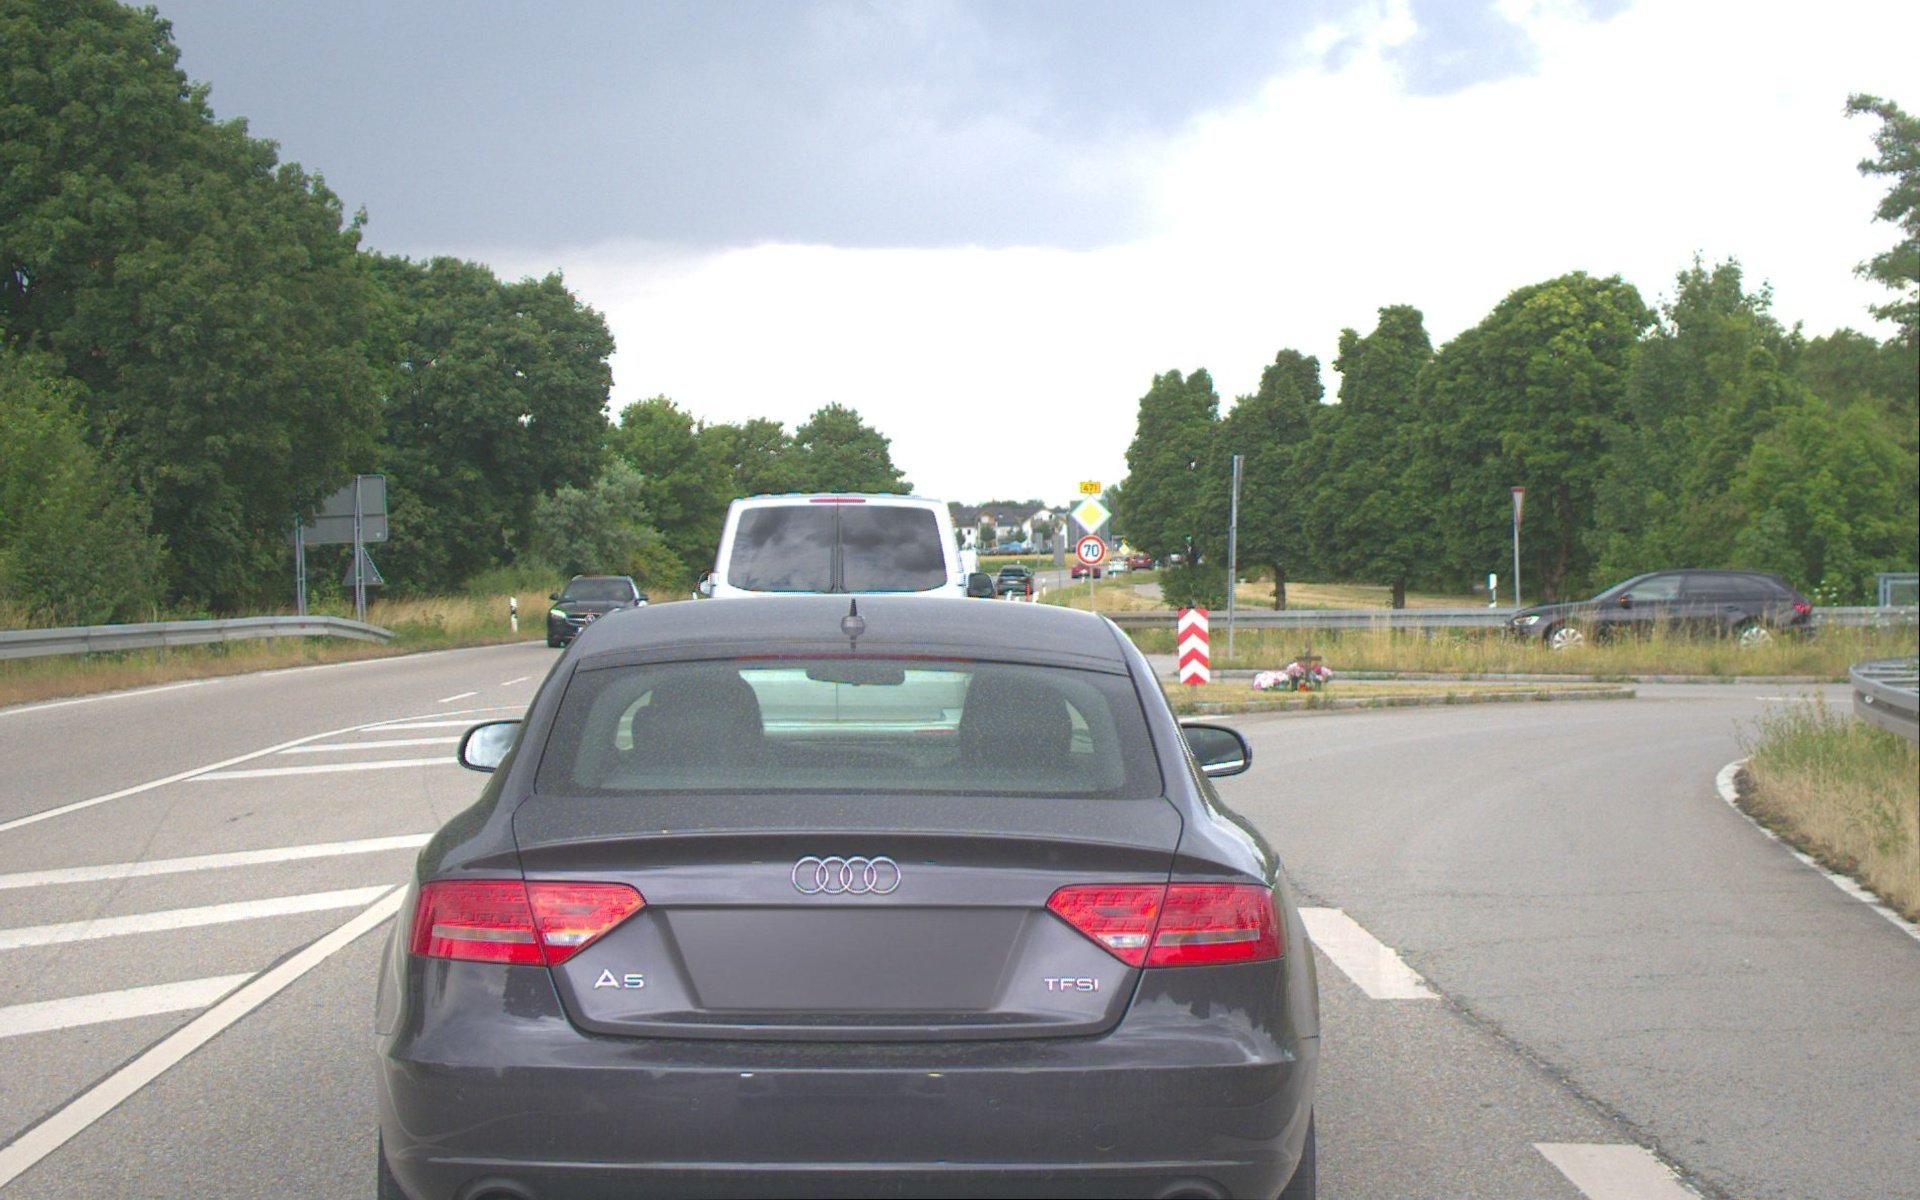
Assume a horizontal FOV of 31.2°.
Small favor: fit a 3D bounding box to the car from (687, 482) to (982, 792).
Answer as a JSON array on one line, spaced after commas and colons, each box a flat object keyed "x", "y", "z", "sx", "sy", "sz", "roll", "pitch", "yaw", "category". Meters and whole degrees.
[{"x": -0.868, "y": 0.199, "z": 24.464, "sx": 1.910, "sy": 2.007, "sz": 4.000, "roll": 1, "pitch": 1, "yaw": -1, "category": "car"}]

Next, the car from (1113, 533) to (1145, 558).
[{"x": 11.445, "y": -3.698, "z": 232.995, "sx": 1.993, "sy": 1.686, "sz": 4.000, "roll": 1, "pitch": 1, "yaw": 1, "category": "car"}]

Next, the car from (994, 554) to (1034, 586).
[{"x": 2.981, "y": -1.654, "z": 188.883, "sx": 1.994, "sy": 1.686, "sz": 4.000, "roll": 1, "pitch": 1, "yaw": 3, "category": "car"}]

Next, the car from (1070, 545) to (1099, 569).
[{"x": 8.978, "y": -3.114, "z": 247.514, "sx": 1.993, "sy": 1.686, "sz": 4.000, "roll": 1, "pitch": 1, "yaw": 1, "category": "car"}]

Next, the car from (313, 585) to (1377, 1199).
[{"x": -0.239, "y": 0.684, "z": 7.426, "sx": 1.779, "sy": 1.394, "sz": 3.337, "roll": 0, "pitch": 1, "yaw": -2, "category": "car"}]

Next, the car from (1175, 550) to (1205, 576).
[{"x": 15.136, "y": -2.438, "z": 226.171, "sx": 1.876, "sy": 1.686, "sz": 4.000, "roll": 1, "pitch": 1, "yaw": 5, "category": "car"}]

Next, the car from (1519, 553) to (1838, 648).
[{"x": 10.838, "y": -0.008, "z": 51.818, "sx": 4.568, "sy": 1.329, "sz": 1.700, "roll": 1, "pitch": 1, "yaw": 16, "category": "car"}]

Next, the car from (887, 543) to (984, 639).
[{"x": -0.524, "y": -0.241, "z": 77.805, "sx": 2.081, "sy": 2.057, "sz": 4.876, "roll": 1, "pitch": 1, "yaw": 1, "category": "car"}]

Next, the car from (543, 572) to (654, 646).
[{"x": -7.307, "y": 0.160, "z": 69.767, "sx": 1.798, "sy": 1.393, "sz": 3.483, "roll": 1, "pitch": 1, "yaw": 1, "category": "car"}]
